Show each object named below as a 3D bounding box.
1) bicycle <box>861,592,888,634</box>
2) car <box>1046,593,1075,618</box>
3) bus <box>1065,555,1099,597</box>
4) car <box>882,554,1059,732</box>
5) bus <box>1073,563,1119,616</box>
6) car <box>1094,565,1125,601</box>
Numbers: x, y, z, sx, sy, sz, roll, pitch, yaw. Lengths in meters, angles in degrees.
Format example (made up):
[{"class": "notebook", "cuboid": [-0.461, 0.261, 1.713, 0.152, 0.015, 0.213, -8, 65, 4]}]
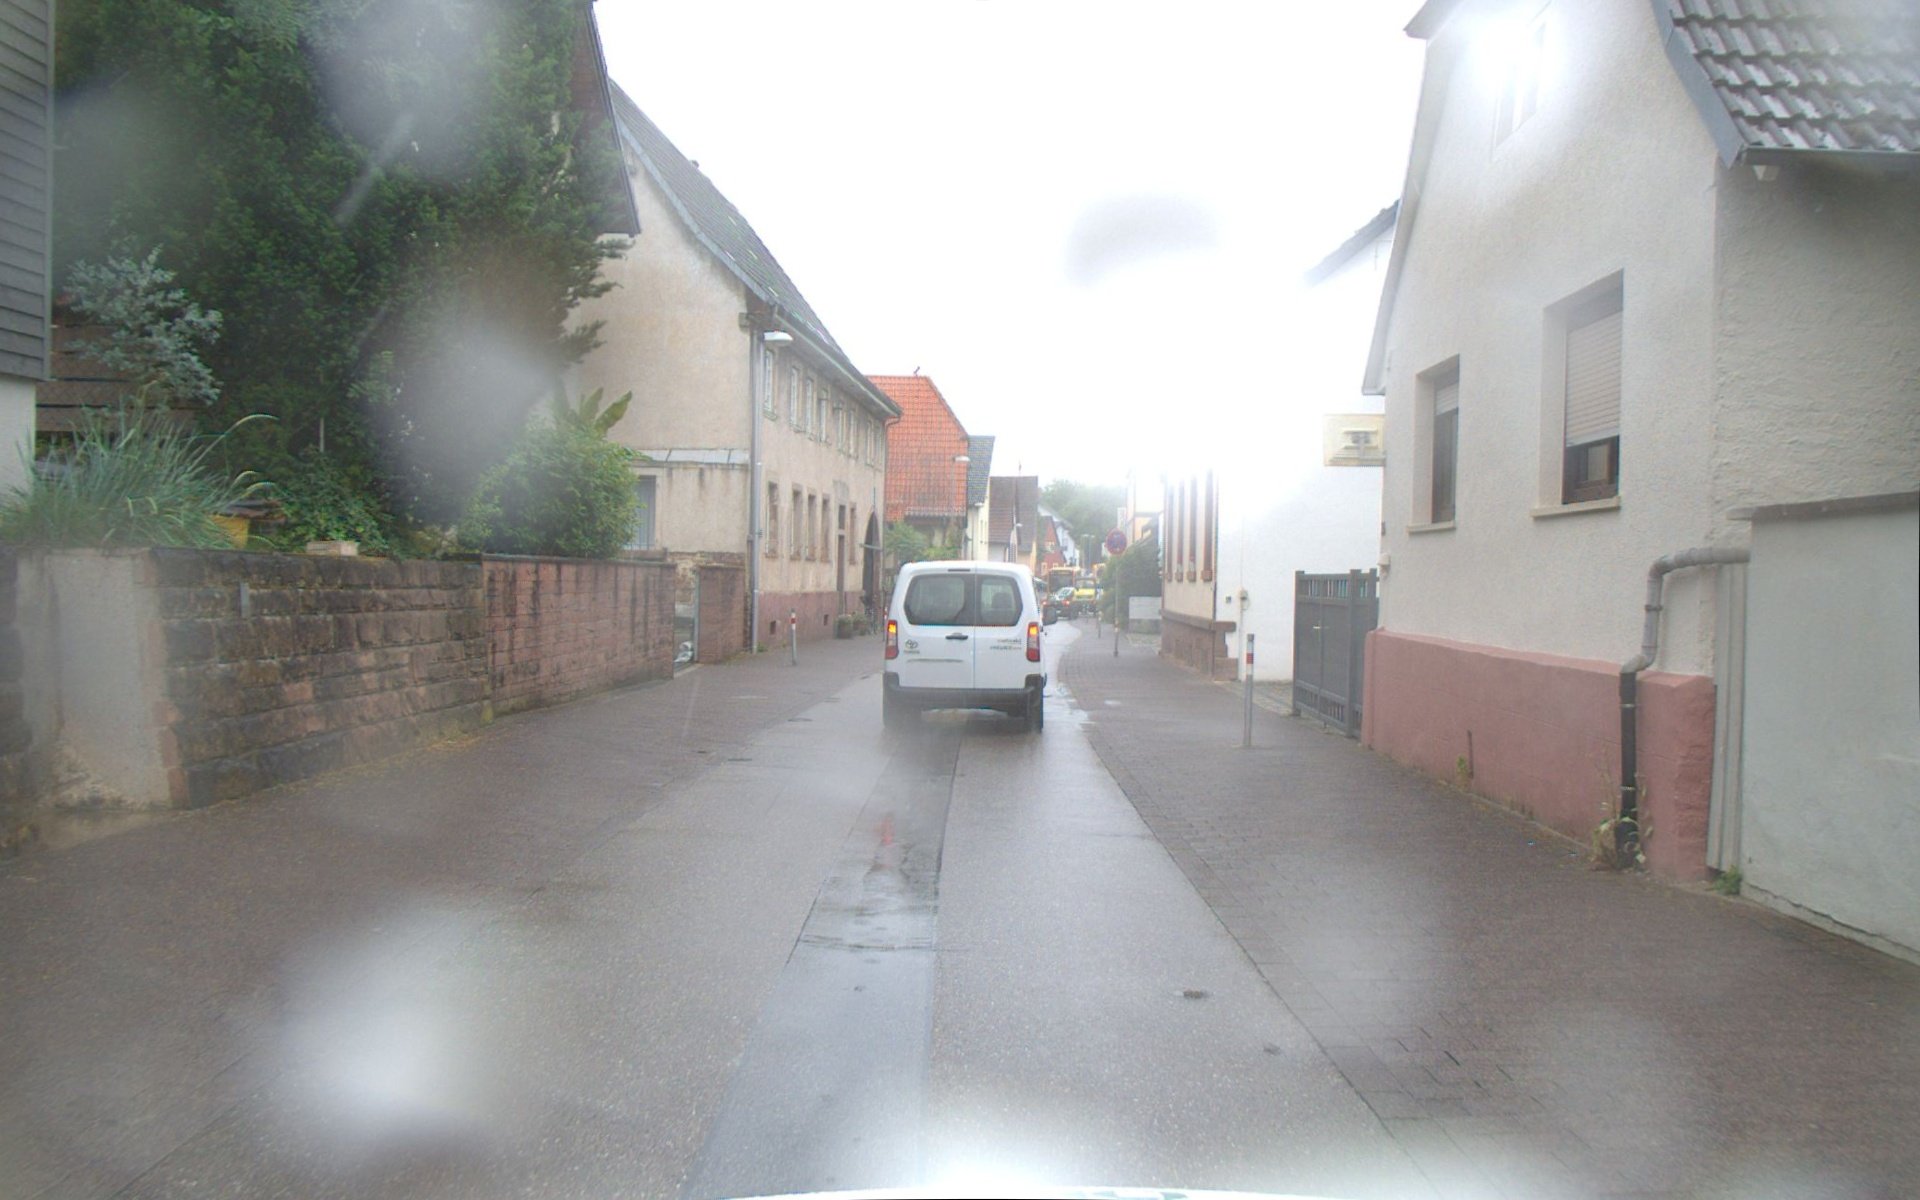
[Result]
[{"class": "bicycle", "cuboid": [-2.533, 0.400, 49.131, 0.473, 1.200, 1.836, 2, 0, 7]}, {"class": "car", "cuboid": [5.937, 0.319, 97.494, 1.529, 1.395, 3.587, 2, 0, 6]}, {"class": "bus", "cuboid": [11.096, -2.122, 149.952, 2.735, 3.387, 8.182, 3, 0, 5]}, {"class": "car", "cuboid": [0.229, 0.466, 19.228, 1.757, 1.850, 4.104, 0, -1, 5]}, {"class": "bus", "cuboid": [8.934, -0.634, 108.725, 2.735, 3.235, 8.182, 3, 0, 5]}, {"class": "car", "cuboid": [8.949, -0.993, 99.188, 1.789, 2.049, 3.696, 2, 0, 5]}]
